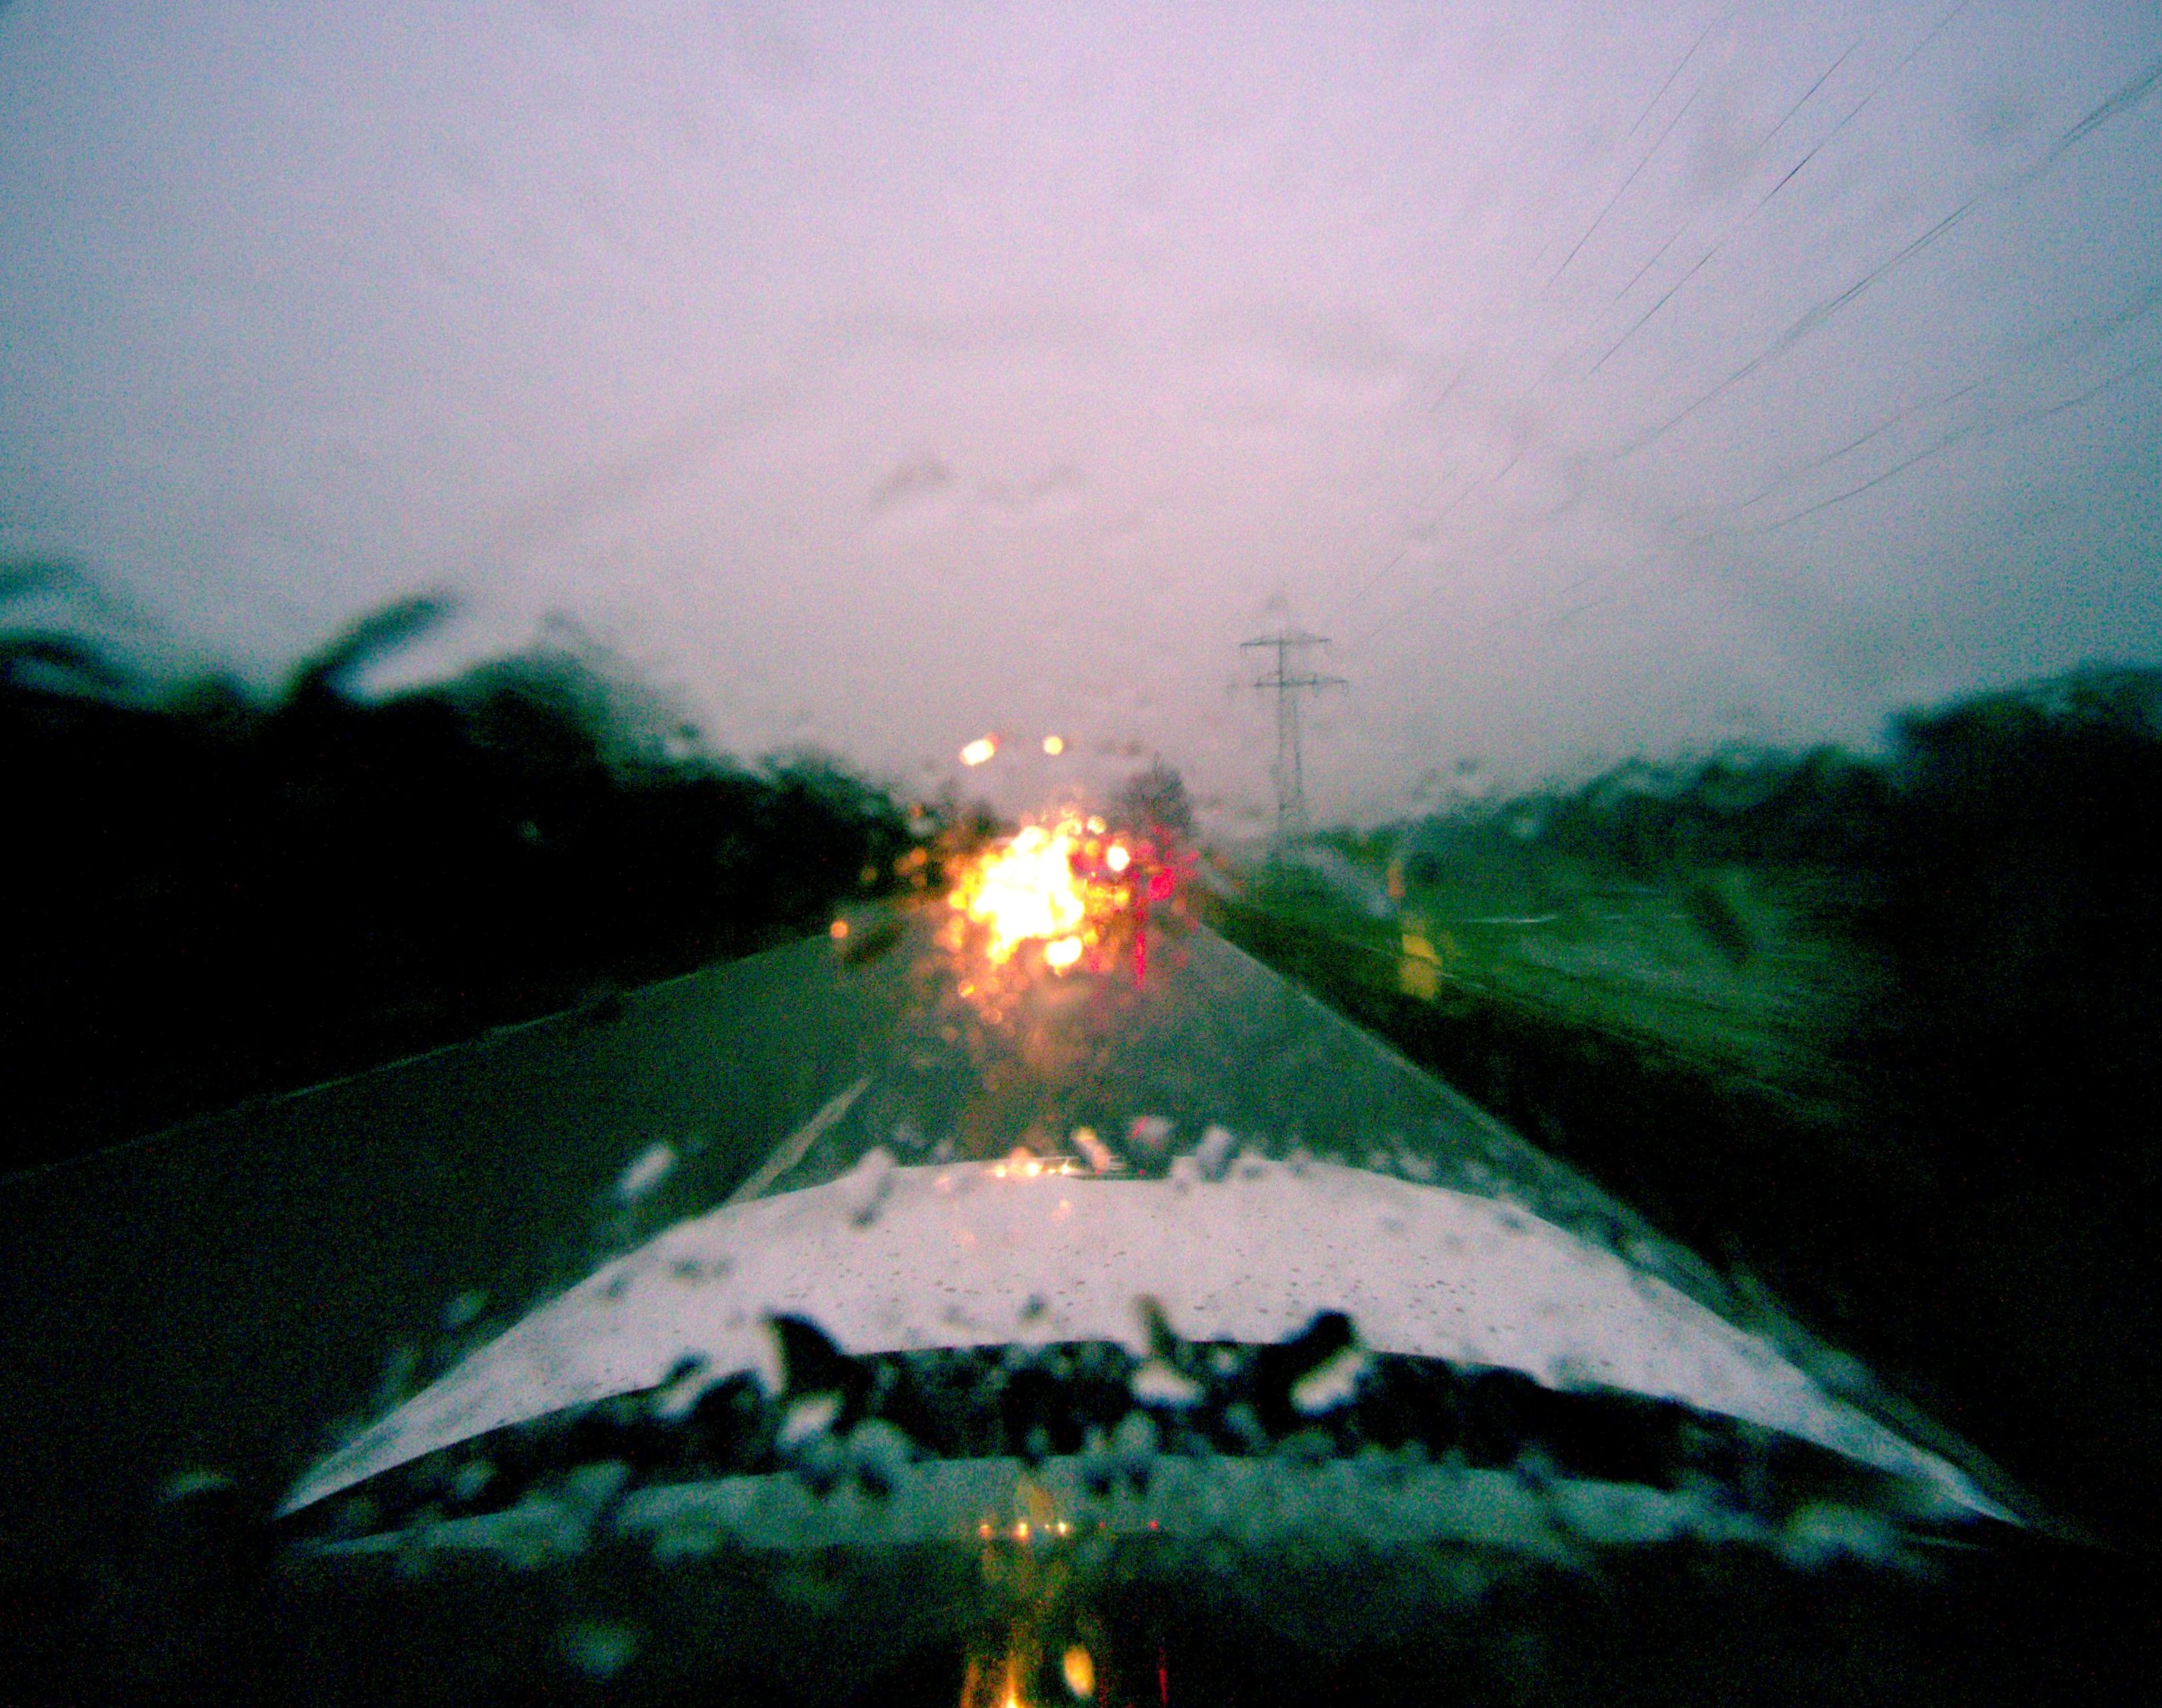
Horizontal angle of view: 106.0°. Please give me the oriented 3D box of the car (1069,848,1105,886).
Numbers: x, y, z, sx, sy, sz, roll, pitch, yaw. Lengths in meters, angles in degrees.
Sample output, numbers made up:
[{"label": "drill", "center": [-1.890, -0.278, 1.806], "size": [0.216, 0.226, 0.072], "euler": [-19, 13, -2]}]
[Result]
[{"label": "car", "center": [0.376, 0.698, 45.510], "size": [1.845, 2.014, 4.002], "euler": [-1, 0, 2]}]

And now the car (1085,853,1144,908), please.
[{"label": "car", "center": [0.910, 0.677, 22.544], "size": [1.494, 1.398, 3.201], "euler": [-1, 0, 2]}]

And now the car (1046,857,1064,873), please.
[{"label": "car", "center": [-2.922, 1.218, 91.566], "size": [1.779, 1.750, 4.259], "euler": [-2, 0, 2]}]

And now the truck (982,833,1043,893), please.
[{"label": "truck", "center": [-3.007, 0.393, 37.012], "size": [2.231, 2.467, 5.374], "euler": [-1, 0, 1]}]

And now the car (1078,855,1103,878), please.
[{"label": "car", "center": [0.706, 0.951, 64.458], "size": [1.857, 1.700, 4.467], "euler": [-1, 0, 0]}]

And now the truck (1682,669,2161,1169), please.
[{"label": "truck", "center": [6.802, 0.313, 2.111], "size": [2.495, 2.571, 10.803], "euler": [-1, 0, 0]}]
